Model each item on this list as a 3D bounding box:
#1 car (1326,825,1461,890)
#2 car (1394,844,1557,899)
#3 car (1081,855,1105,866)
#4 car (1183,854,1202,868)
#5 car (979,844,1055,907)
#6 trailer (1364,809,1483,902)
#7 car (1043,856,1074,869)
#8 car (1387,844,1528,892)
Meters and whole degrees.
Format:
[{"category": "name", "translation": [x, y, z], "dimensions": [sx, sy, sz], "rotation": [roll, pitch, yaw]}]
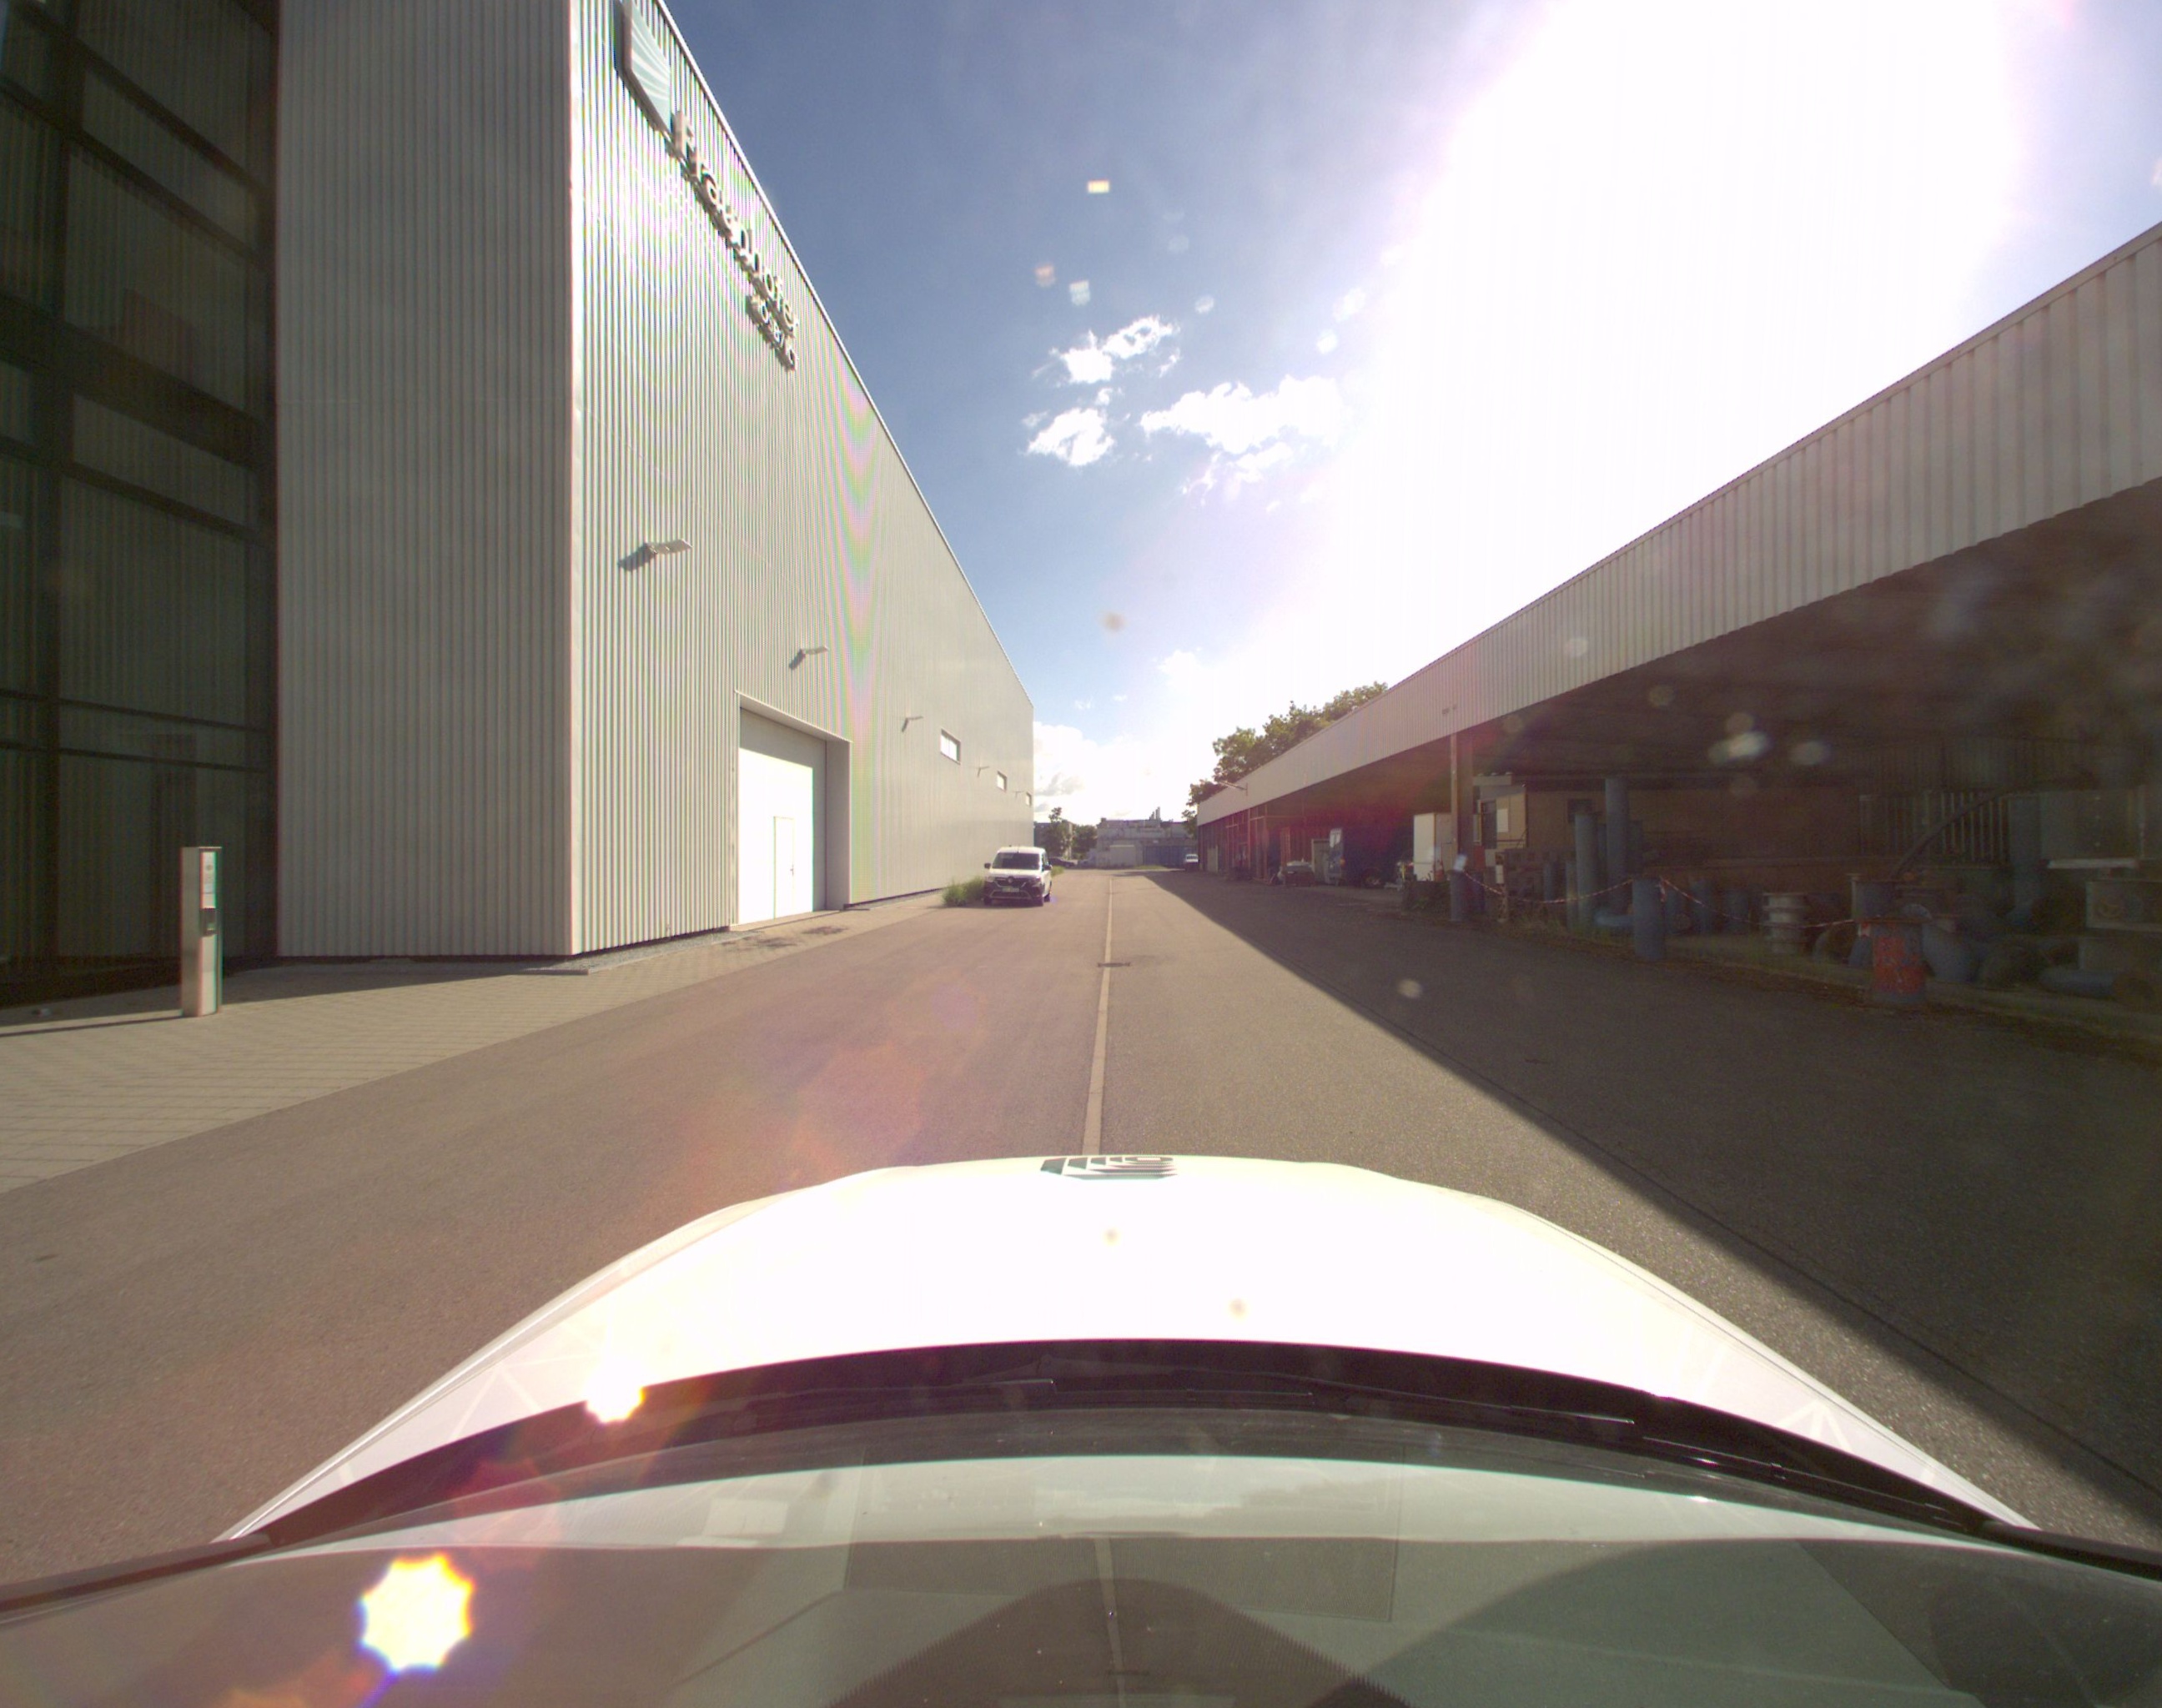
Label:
[{"category": "car", "translation": [11.693, 0.166, 30.707], "dimensions": [4.414, 2.310, 1.916], "rotation": [1, -2, 3]}, {"category": "car", "translation": [11.623, 0.531, 24.180], "dimensions": [4.021, 1.525, 1.685], "rotation": [1, -2, 3]}, {"category": "car", "translation": [1.957, 1.093, 135.840], "dimensions": [3.973, 1.598, 1.848], "rotation": [1, -2, 1]}, {"category": "car", "translation": [12.987, 0.839, 95.197], "dimensions": [1.953, 1.564, 4.063], "rotation": [1, 0, 4]}, {"category": "car", "translation": [-1.914, 0.625, 25.755], "dimensions": [1.811, 1.787, 4.408], "rotation": [1, 0, 3]}, {"category": "trailer", "translation": [9.178, 0.060, 21.985], "dimensions": [2.513, 2.399, 1.728], "rotation": [-1, -1, 3]}, {"category": "car", "translation": [-2.954, 1.122, 108.072], "dimensions": [3.973, 1.598, 1.741], "rotation": [1, -2, 1]}, {"category": "car", "translation": [12.679, 0.478, 27.577], "dimensions": [4.021, 1.525, 1.685], "rotation": [1, -2, 3]}]
